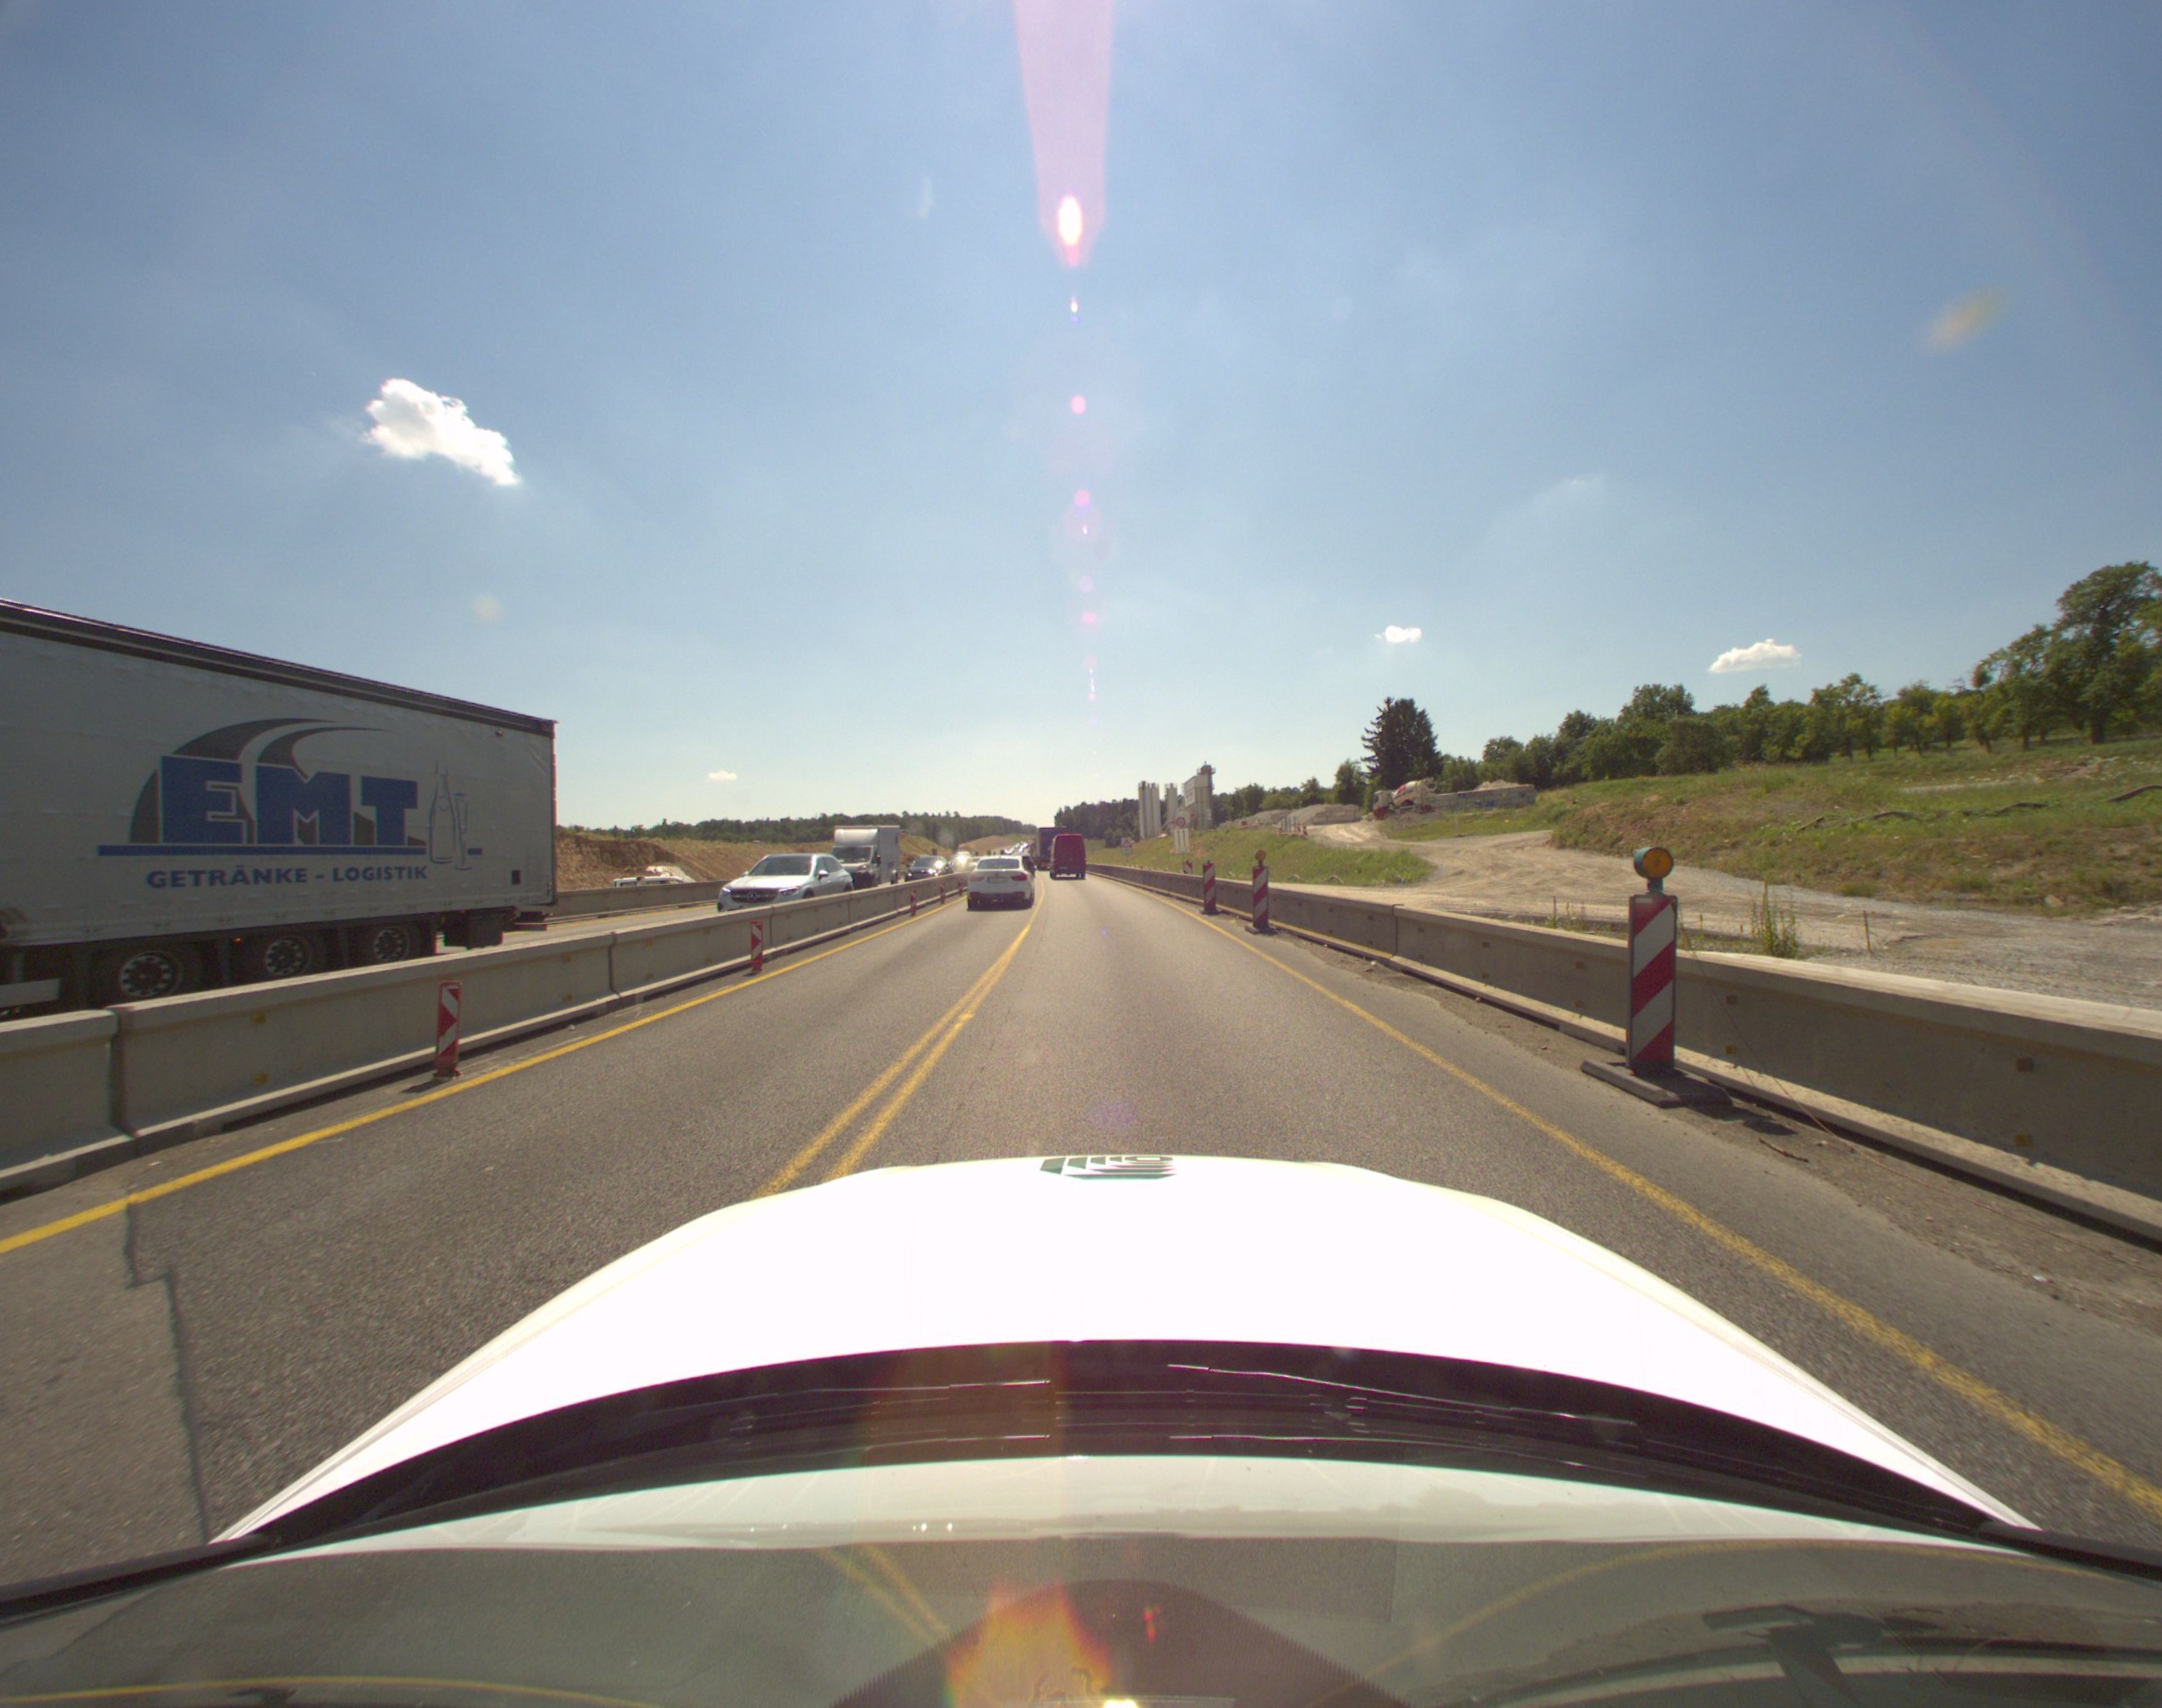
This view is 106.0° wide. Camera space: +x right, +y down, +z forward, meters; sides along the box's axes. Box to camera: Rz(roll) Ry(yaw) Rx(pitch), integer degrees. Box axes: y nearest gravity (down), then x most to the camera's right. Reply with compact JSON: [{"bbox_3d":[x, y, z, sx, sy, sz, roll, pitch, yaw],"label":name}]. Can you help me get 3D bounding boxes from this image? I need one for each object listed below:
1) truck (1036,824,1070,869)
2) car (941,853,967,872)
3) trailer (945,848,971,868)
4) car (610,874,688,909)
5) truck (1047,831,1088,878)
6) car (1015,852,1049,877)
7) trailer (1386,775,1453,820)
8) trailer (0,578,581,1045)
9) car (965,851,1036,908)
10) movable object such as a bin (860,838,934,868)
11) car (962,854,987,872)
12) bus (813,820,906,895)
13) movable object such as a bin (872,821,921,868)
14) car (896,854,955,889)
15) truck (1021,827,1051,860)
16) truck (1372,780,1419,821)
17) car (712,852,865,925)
[{"bbox_3d":[-2.876,-0.708,80.725,3.009,4.152,8.262,-2,0,-3],"label":"truck"},{"bbox_3d":[-12.129,0.760,77.969,1.919,1.679,4.711,-2,0,-4],"label":"car"},{"bbox_3d":[-12.577,0.397,83.407,2.126,1.982,5.228,-2,0,-4],"label":"trailer"},{"bbox_3d":[-20.684,1.783,39.012,3.210,1.455,1.533,-2,0,-29],"label":"car"},{"bbox_3d":[-0.908,0.028,50.591,2.108,2.633,6.474,-2,0,-4],"label":"truck"},{"bbox_3d":[-3.177,0.663,53.368,1.788,1.534,3.933,-2,0,2],"label":"car"},{"bbox_3d":[34.350,-5.674,82.924,2.759,4.114,6.716,-2,0,-13],"label":"trailer"},{"bbox_3d":[-10.836,-0.338,7.502,2.747,4.114,13.995,-2,0,5],"label":"trailer"},{"bbox_3d":[-2.331,0.697,24.761,1.790,1.534,5.069,-1,0,-2],"label":"car"},{"bbox_3d":[-49.272,-0.242,218.540,18.689,7.231,3.608,-2,0,-7],"label":"movable object such as a bin"},{"bbox_3d":[-9.442,0.746,72.405,1.812,1.455,4.629,-2,0,-3],"label":"car"},{"bbox_3d":[-10.277,0.145,38.529,2.342,3.125,7.226,-2,0,-1],"label":"bus"},{"bbox_3d":[-31.899,-1.578,141.058,7.619,7.713,3.442,-2,0,-3],"label":"movable object such as a bin"},{"bbox_3d":[-7.179,0.774,37.982,1.802,1.414,4.399,-2,0,1],"label":"car"},{"bbox_3d":[-6.846,-1.604,125.979,3.671,4.691,9.754,-2,0,1],"label":"truck"},{"bbox_3d":[33.516,-5.661,86.829,2.748,4.095,4.082,-2,0,-13],"label":"truck"},{"bbox_3d":[-6.836,0.726,19.645,1.789,1.475,4.779,-2,0,1],"label":"car"}]
